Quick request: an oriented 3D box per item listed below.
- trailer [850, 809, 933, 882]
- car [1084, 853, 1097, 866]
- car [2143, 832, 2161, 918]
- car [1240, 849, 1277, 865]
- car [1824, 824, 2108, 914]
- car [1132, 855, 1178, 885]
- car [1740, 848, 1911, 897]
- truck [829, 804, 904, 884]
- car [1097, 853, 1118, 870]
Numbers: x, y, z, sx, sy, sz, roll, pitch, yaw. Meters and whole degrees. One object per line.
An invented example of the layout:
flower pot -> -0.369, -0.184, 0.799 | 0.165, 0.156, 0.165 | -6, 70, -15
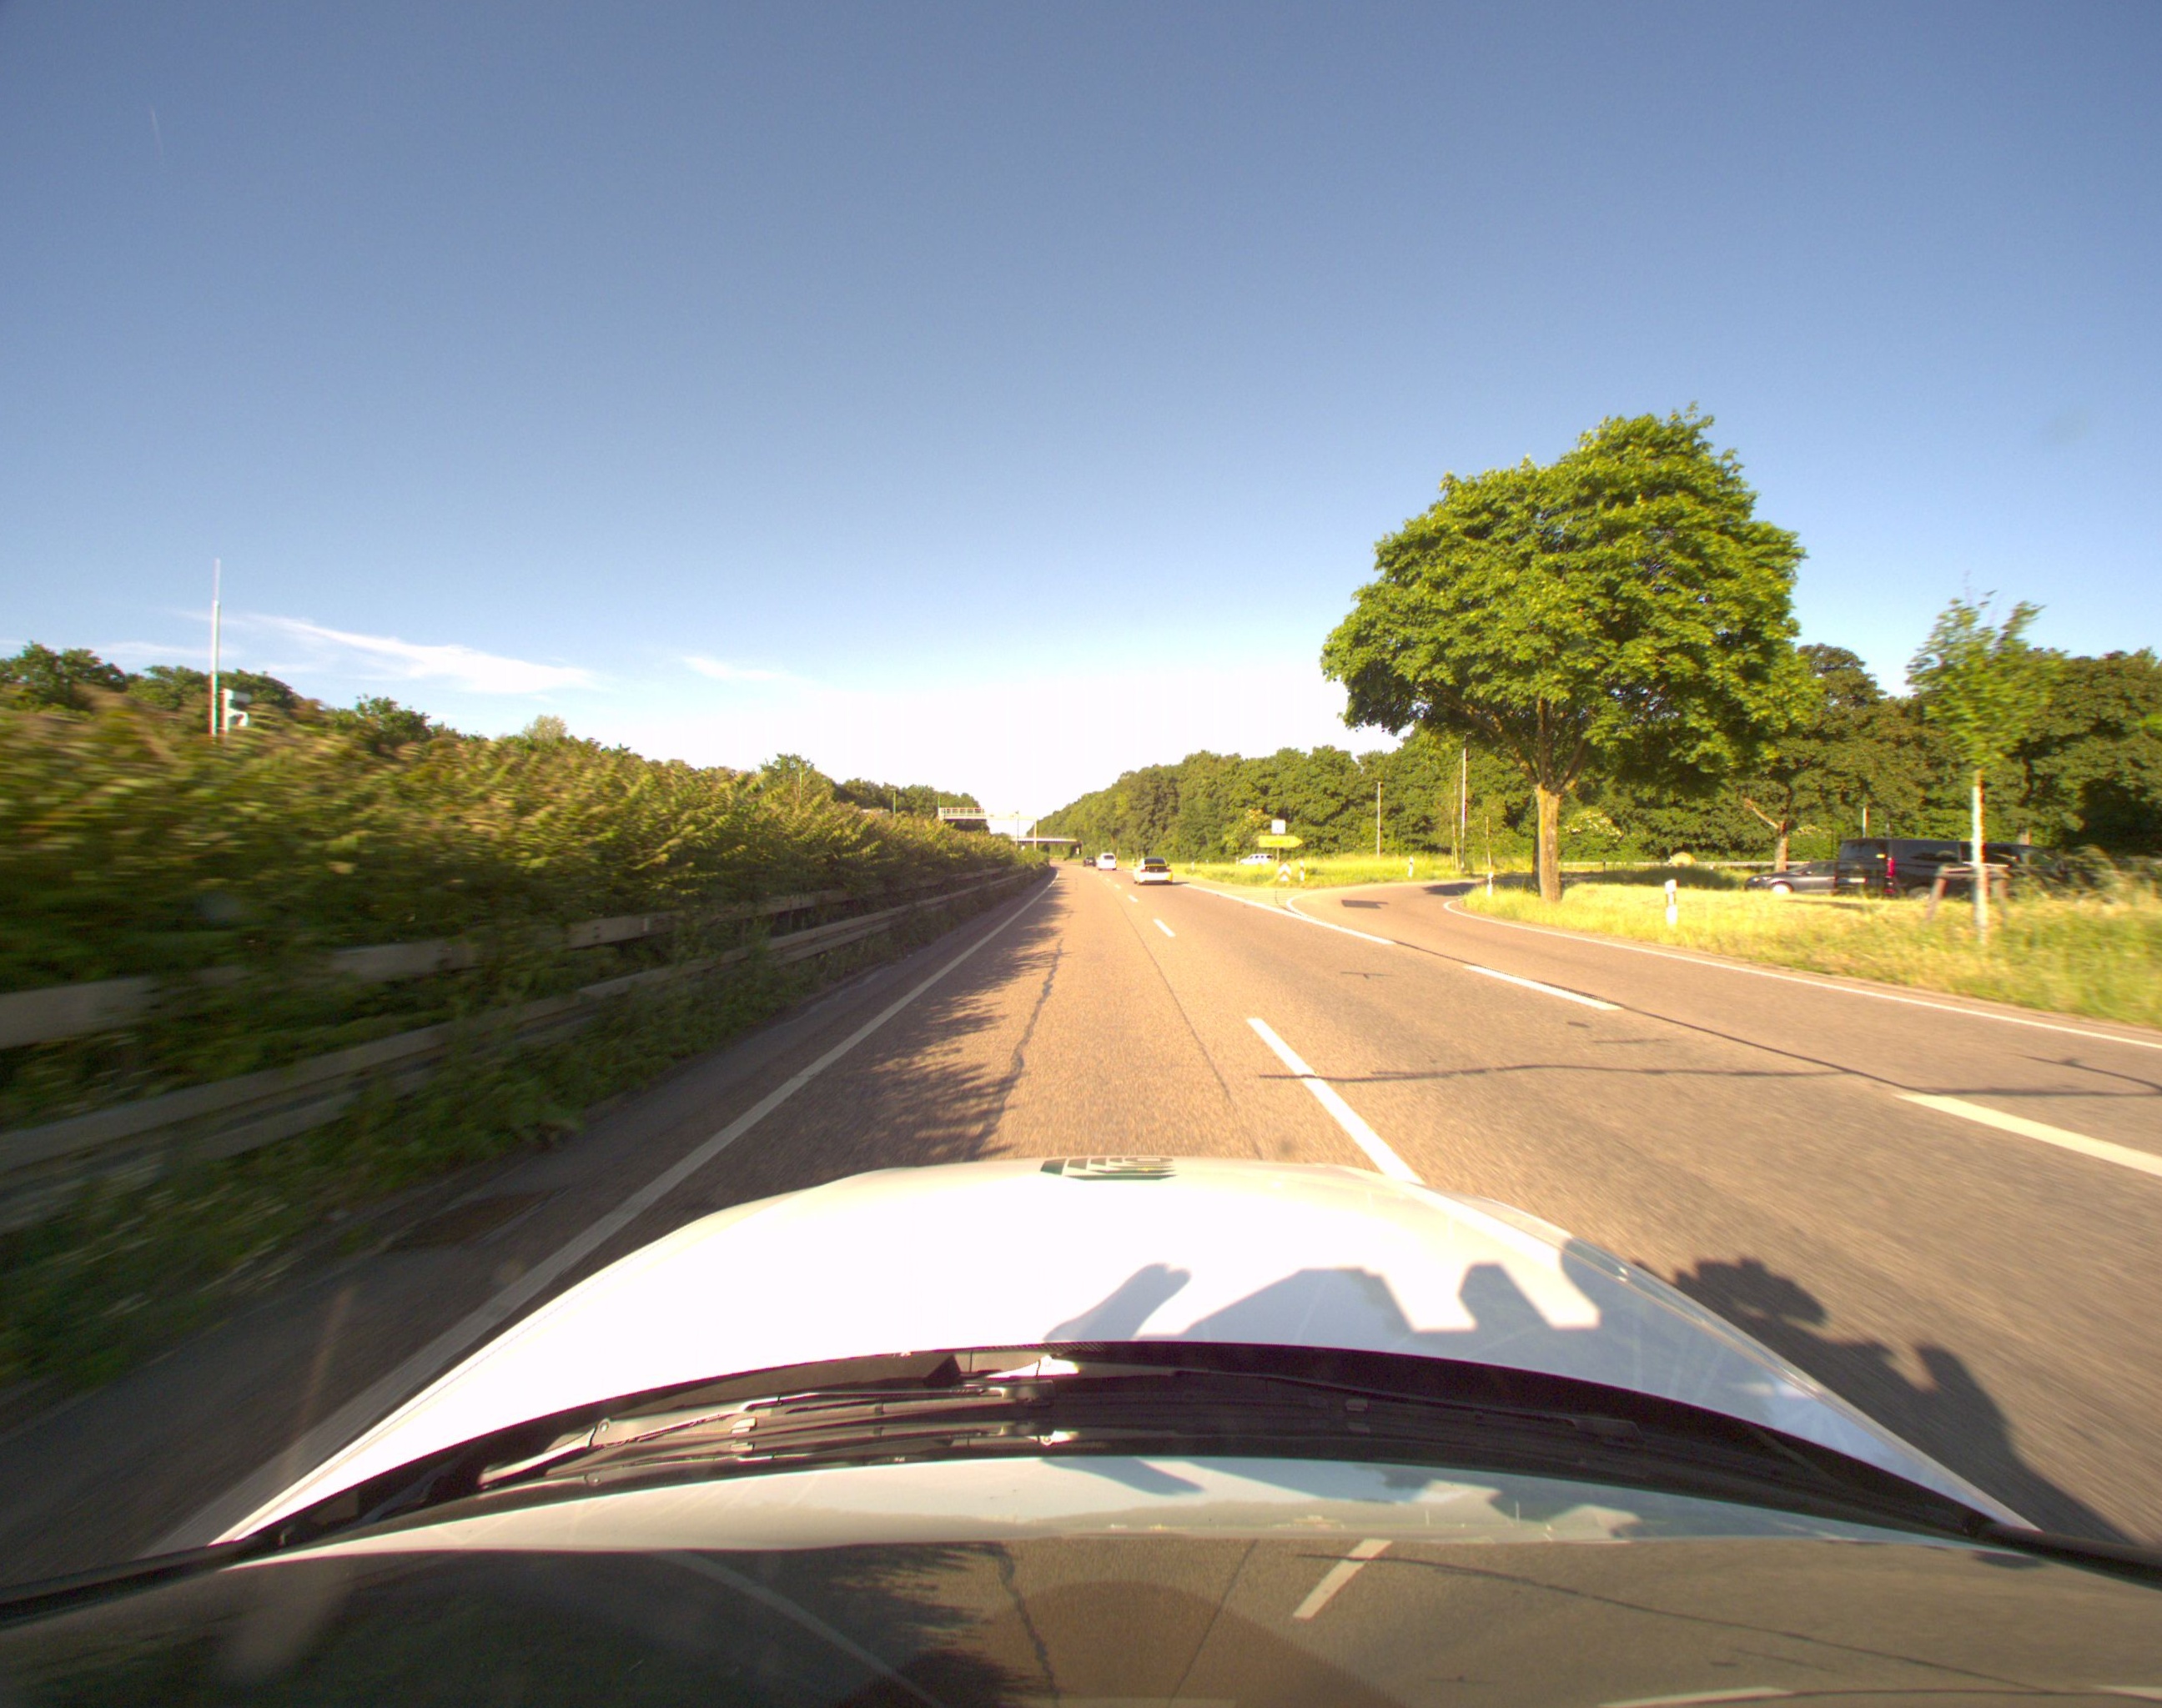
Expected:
trailer -> -11.755, -0.492, 51.672 | 2.639, 4.123, 10.700 | -1, 0, 1
car -> 1.454, 0.785, 120.420 | 1.890, 1.767, 4.000 | -2, 0, 1
car -> 23.573, 0.471, 15.261 | 4.845, 1.679, 2.221 | 2, -1, -4
car -> 21.269, 0.397, 97.793 | 1.913, 1.824, 3.953 | -1, 0, -40
car -> 23.518, 0.384, 21.843 | 5.005, 2.136, 2.098 | 2, -1, 7
car -> 3.891, 0.832, 43.539 | 1.892, 1.471, 3.996 | -1, 0, -2
car -> 26.192, 0.624, 28.855 | 4.172, 1.560, 1.798 | 1, -1, 31
truck -> -11.816, -0.533, 45.365 | 2.640, 4.123, 5.562 | -1, 0, 1
car -> 2.801, 0.772, 86.832 | 1.892, 1.767, 3.998 | -1, 0, -1
